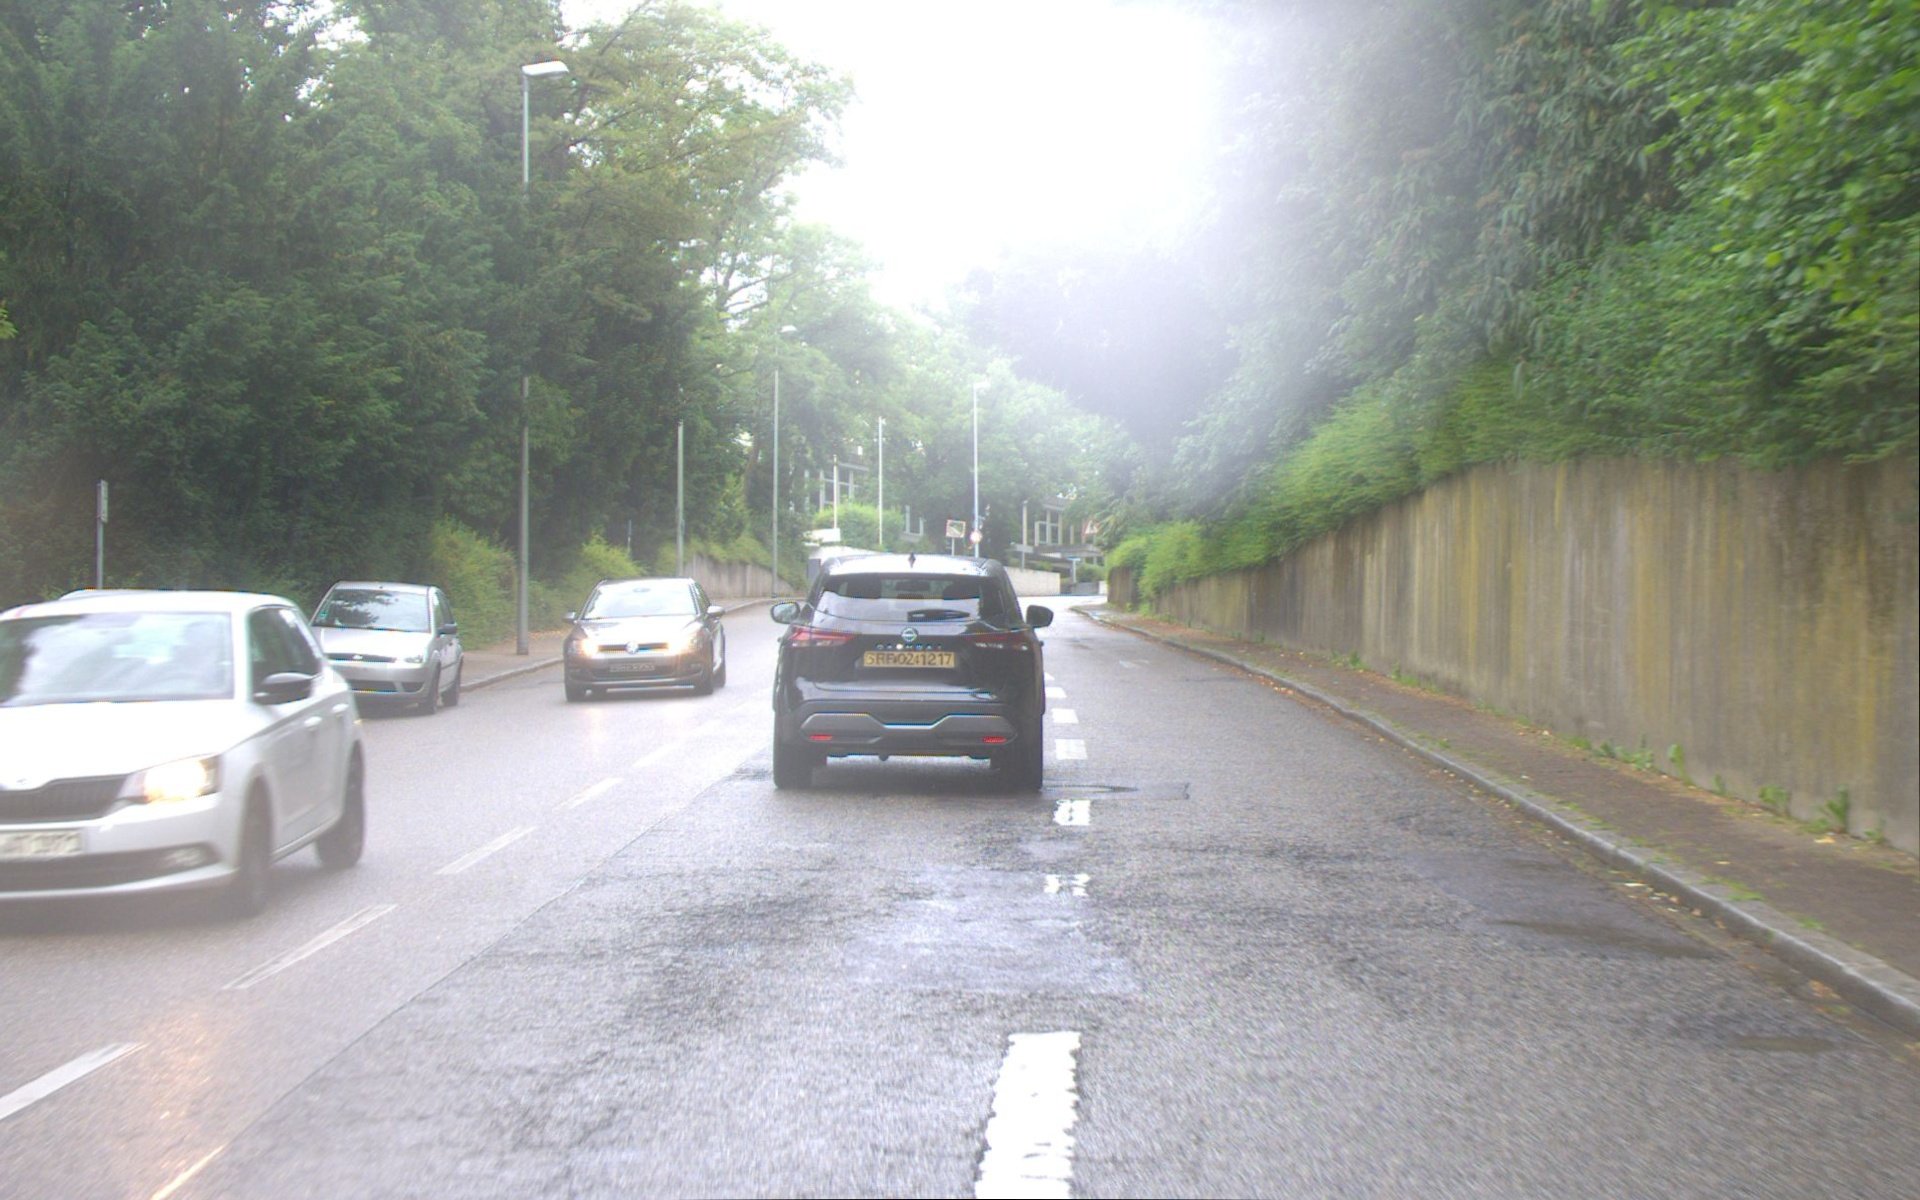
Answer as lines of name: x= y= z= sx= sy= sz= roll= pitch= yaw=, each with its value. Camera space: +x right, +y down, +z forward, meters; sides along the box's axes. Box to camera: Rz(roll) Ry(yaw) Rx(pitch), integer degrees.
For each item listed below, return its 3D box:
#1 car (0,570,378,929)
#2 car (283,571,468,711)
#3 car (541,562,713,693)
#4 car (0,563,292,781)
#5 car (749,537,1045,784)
car: x=-3.966 y=0.626 z=16.270 sx=1.724 sy=1.431 sz=3.912 roll=-3 pitch=1 yaw=-1
car: x=-6.784 y=0.438 z=40.233 sx=1.626 sy=1.494 sz=3.929 roll=2 pitch=1 yaw=-3
car: x=-4.060 y=0.304 z=42.405 sx=1.761 sy=1.486 sz=4.000 roll=-2 pitch=1 yaw=-1
car: x=-6.935 y=0.541 z=28.470 sx=1.886 sy=1.606 sz=4.239 roll=-3 pitch=1 yaw=0
car: x=-0.420 y=0.374 z=24.365 sx=1.928 sy=1.607 sz=4.000 roll=0 pitch=1 yaw=0
